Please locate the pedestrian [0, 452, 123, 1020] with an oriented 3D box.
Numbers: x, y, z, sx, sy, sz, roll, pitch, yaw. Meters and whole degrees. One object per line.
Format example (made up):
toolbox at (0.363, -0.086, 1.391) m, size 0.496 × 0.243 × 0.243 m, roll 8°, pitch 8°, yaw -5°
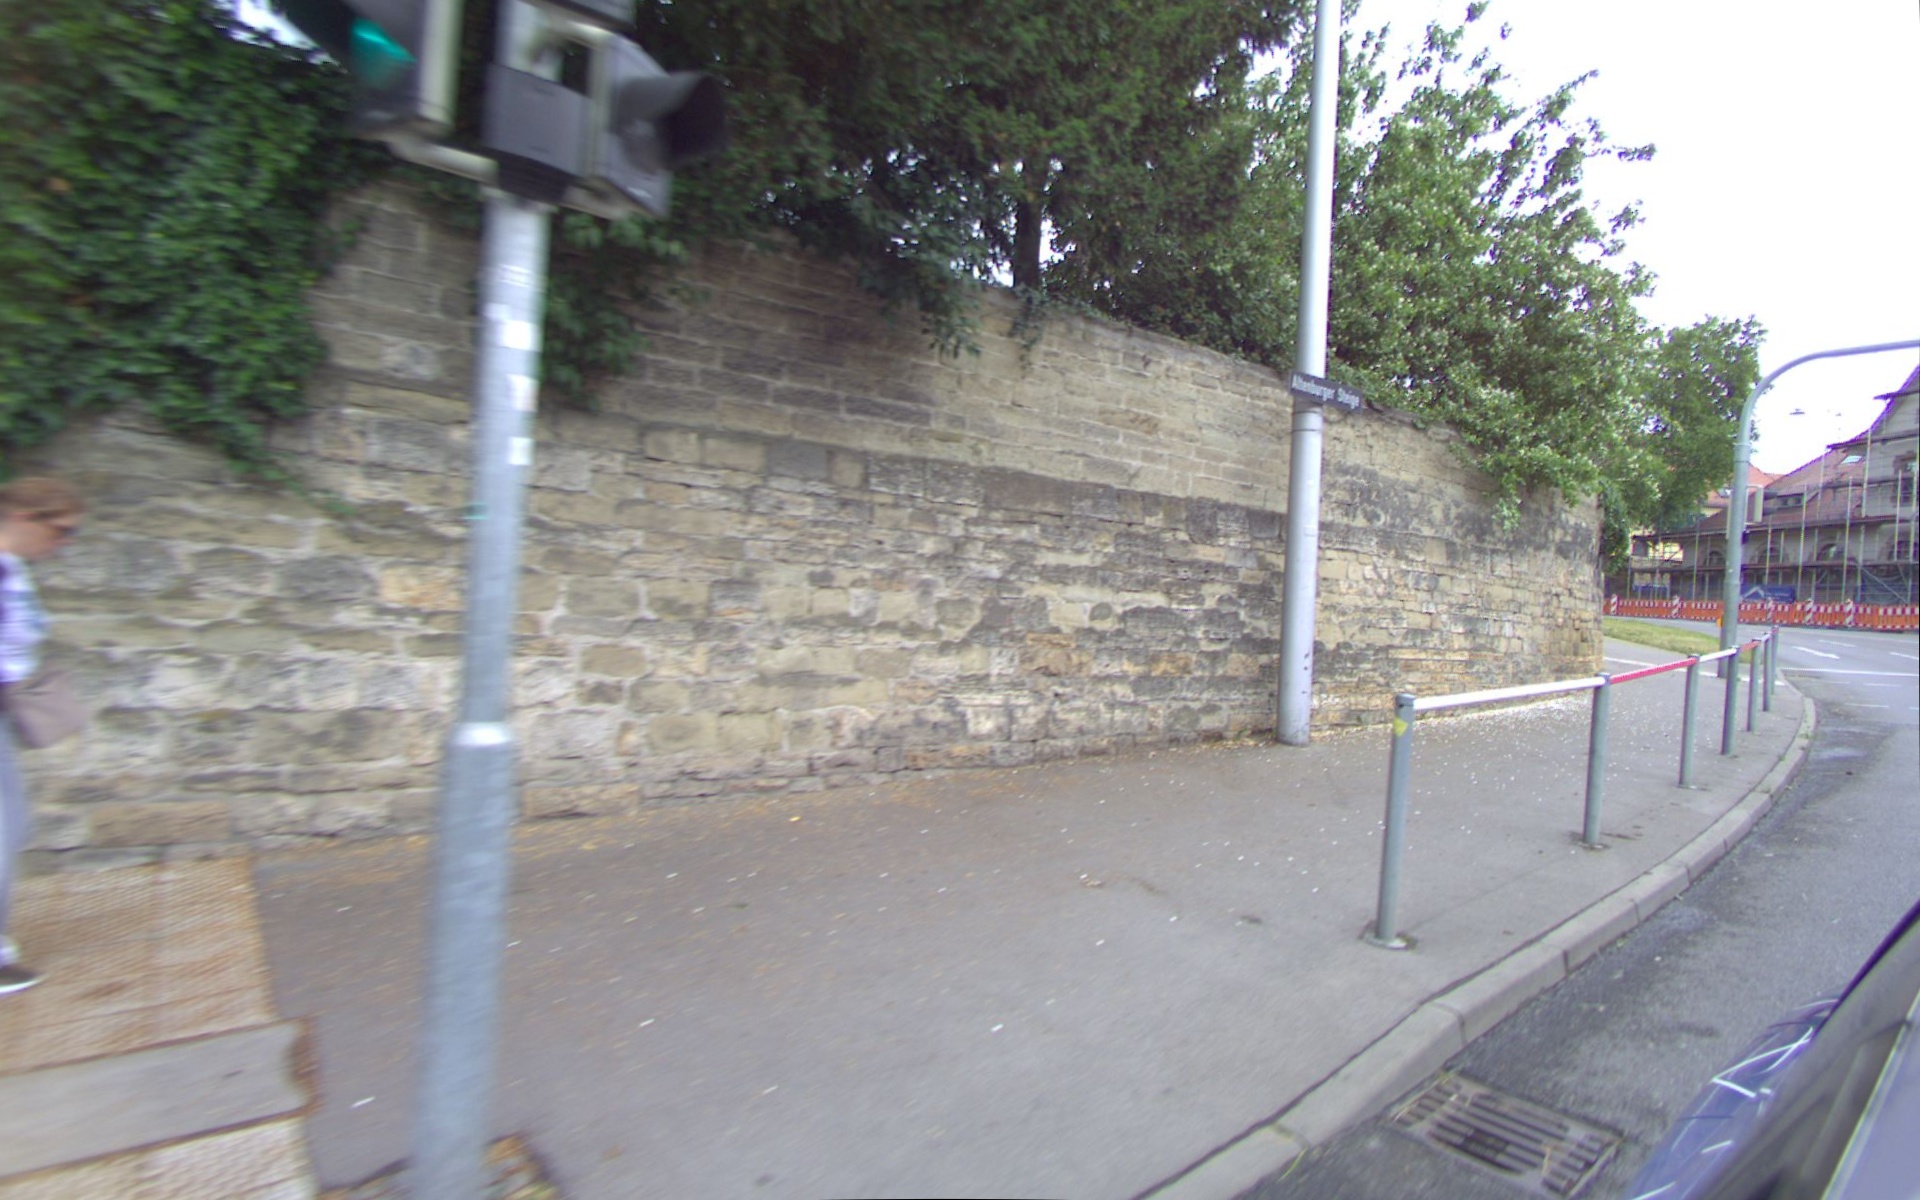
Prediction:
pedestrian at (-3.004, 0.360, 3.024) m, size 0.730 × 1.595 × 0.733 m, roll 1°, pitch 3°, yaw -39°
